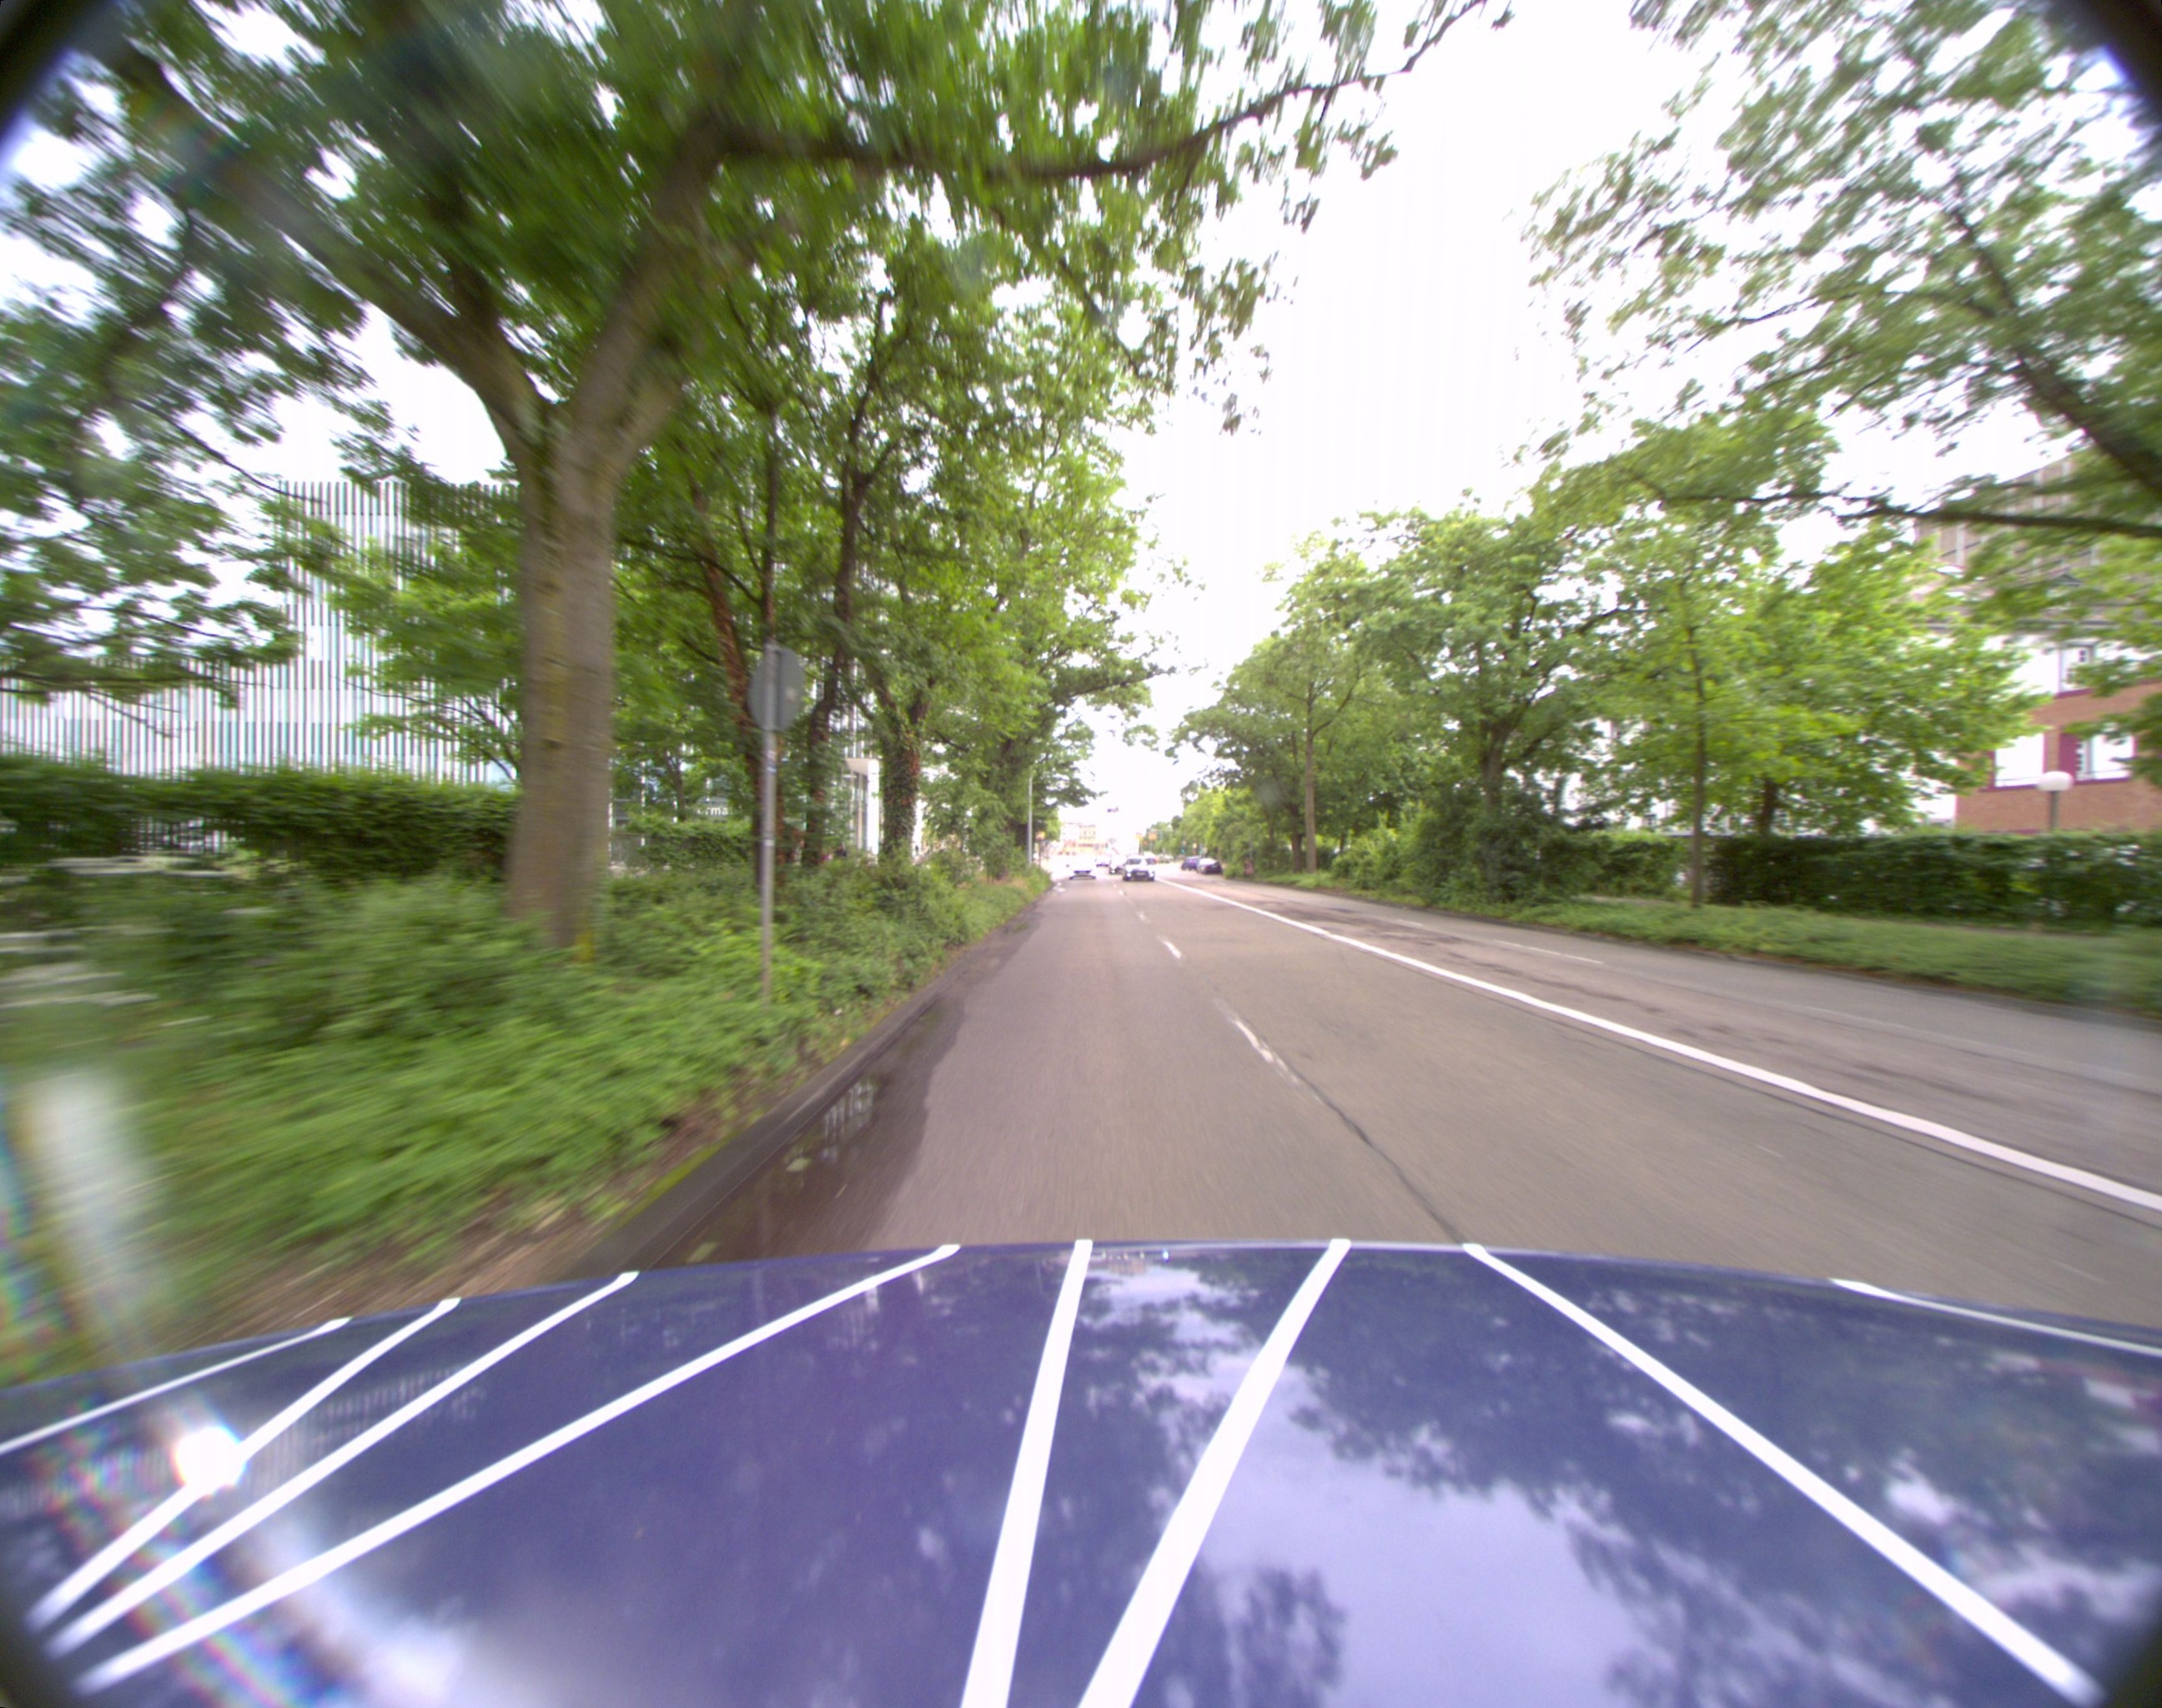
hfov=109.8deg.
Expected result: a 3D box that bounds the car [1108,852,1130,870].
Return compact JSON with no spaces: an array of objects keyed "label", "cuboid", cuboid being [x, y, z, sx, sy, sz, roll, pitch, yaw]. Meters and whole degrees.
[{"label":"car","cuboid":[3.262,0.571,64.560,1.731,1.450,4.001,1,0,4]}]

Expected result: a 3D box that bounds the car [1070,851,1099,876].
[{"label":"car","cuboid":[0.289,0.599,50.837,1.813,1.533,4.000,1,0,1]}]

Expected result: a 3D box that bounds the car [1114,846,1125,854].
[{"label":"car","cuboid":[7.596,-0.844,150.325,1.998,1.538,4.179,2,0,1]}]

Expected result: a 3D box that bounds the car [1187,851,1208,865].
[{"label":"car","cuboid":[13.207,0.448,86.614,1.863,1.598,4.593,-1,0,2]}]

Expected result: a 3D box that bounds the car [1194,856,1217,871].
[{"label":"car","cuboid":[12.626,0.906,77.526,1.878,1.416,4.729,-2,0,4]}]

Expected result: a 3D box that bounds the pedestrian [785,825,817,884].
[{"label":"pedestrian","cuboid":[-9.731,0.028,26.437,0.826,2.002,0.720,1,1,0]}]

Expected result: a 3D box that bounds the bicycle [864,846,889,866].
[{"label":"bicycle","cuboid":[-14.826,0.150,55.089,1.649,1.325,0.463,3,1,14]}]

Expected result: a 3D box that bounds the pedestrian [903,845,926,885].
[{"label":"pedestrian","cuboid":[-8.454,0.564,38.619,0.928,2.002,1.039,1,1,-4]}]

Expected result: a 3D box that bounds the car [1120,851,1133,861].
[{"label":"car","cuboid":[7.336,0.325,122.755,1.907,1.584,4.516,1,0,1]}]

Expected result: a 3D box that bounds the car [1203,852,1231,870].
[{"label":"car","cuboid":[12.736,0.633,71.407,1.998,1.680,4.000,-1,0,1]}]

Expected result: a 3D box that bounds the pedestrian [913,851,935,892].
[{"label":"pedestrian","cuboid":[-7.920,0.873,38.332,0.928,2.002,1.039,1,1,-4]}]

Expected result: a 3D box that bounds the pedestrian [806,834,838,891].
[{"label":"pedestrian","cuboid":[-9.248,0.292,27.178,0.826,2.002,0.720,2,1,0]}]

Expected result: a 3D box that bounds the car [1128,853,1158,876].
[{"label":"car","cuboid":[3.669,0.589,45.031,1.624,1.310,3.706,1,0,4]}]

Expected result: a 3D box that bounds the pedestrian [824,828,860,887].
[{"label":"pedestrian","cuboid":[-8.299,0.127,26.433,0.928,2.002,1.039,1,1,-4]}]

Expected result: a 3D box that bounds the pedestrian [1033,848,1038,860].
[{"label":"pedestrian","cuboid":[-7.741,-0.065,129.736,0.844,2.002,0.894,1,1,2]}]
